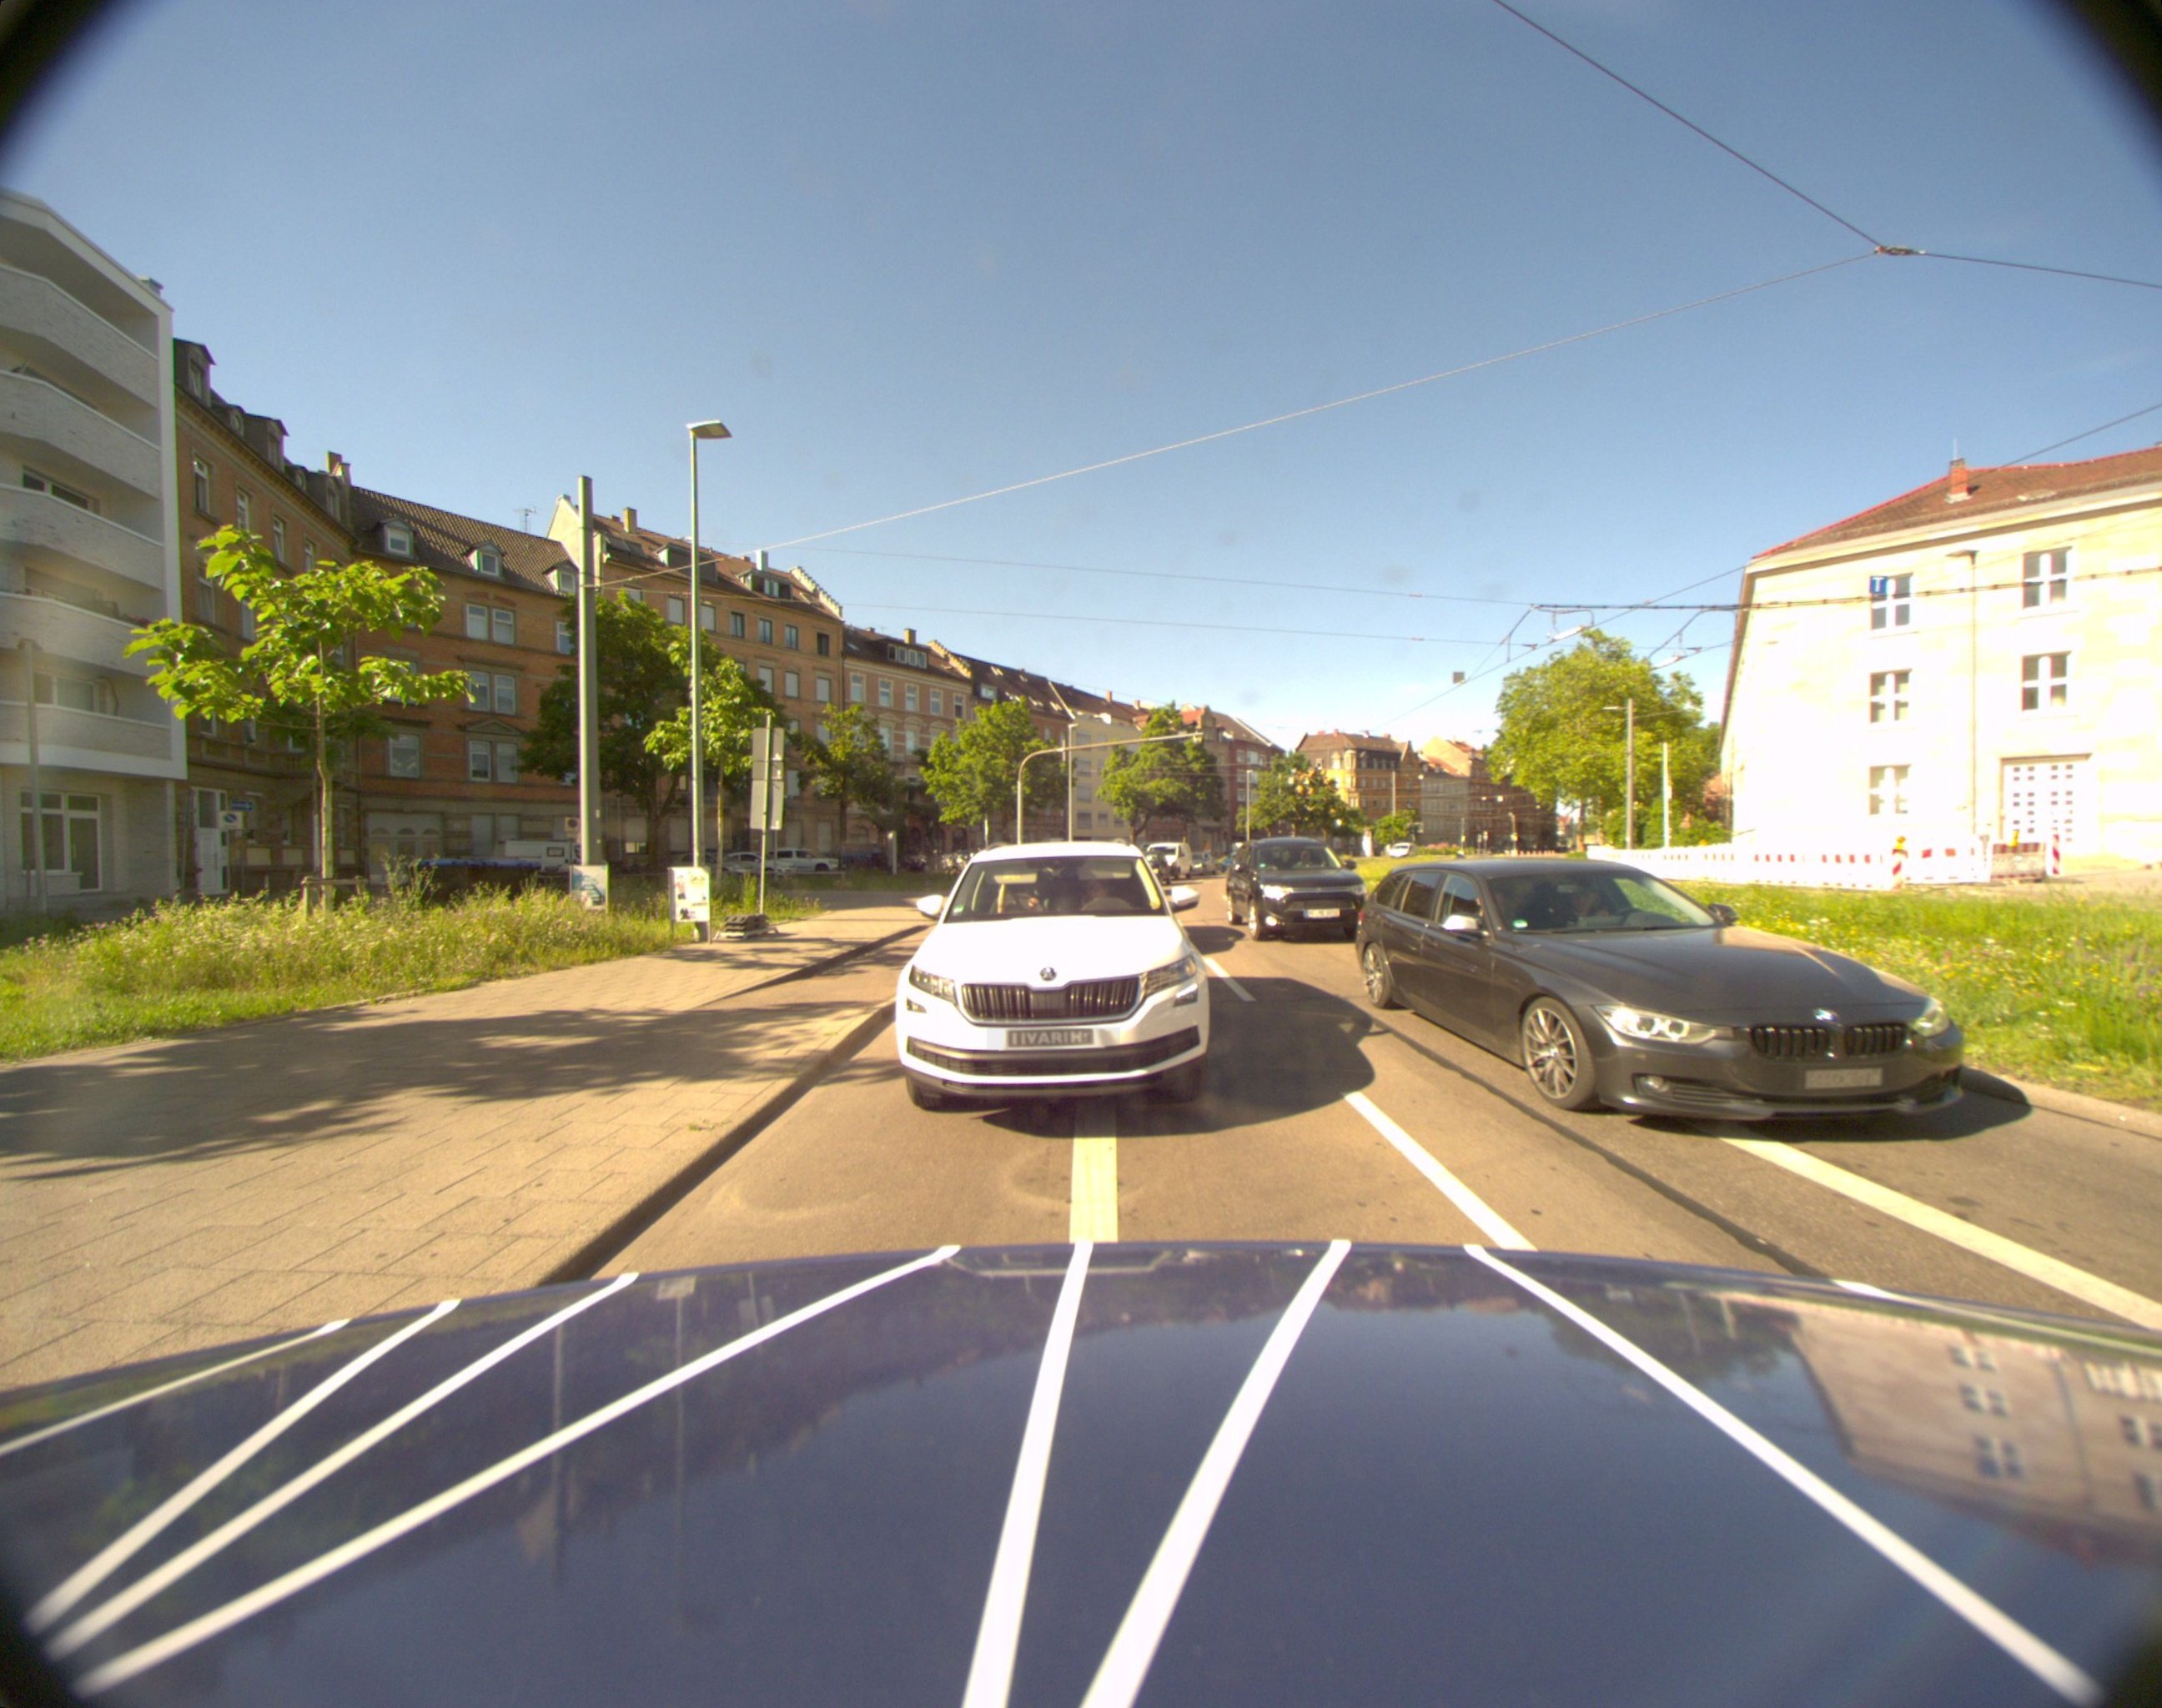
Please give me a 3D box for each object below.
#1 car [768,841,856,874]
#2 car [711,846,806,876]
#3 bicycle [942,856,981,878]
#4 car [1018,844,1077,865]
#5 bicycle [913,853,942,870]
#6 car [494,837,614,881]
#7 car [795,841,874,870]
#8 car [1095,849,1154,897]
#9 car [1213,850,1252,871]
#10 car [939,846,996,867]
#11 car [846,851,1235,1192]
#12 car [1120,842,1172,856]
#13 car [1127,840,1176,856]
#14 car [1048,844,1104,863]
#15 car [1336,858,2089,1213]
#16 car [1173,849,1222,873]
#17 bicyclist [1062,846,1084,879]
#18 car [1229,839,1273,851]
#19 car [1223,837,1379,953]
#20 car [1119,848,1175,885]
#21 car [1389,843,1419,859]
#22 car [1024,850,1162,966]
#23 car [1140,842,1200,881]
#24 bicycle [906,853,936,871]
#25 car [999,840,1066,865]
[{"bbox_3d":[-14.589,0.185,41.389,3.996,1.652,2.000,-1,1,3],"label":"car"},{"bbox_3d":[-16.538,0.361,39.111,3.996,1.455,2.000,-1,1,3],"label":"car"},{"bbox_3d":[-5.759,0.630,36.619,1.764,1.018,0.567,-1,1,-26],"label":"bicycle"},{"bbox_3d":[-2.565,0.044,58.857,4.397,1.498,2.000,-1,1,2],"label":"car"},{"bbox_3d":[-9.324,0.450,46.079,1.757,1.018,0.453,0,1,26],"label":"bicycle"},{"bbox_3d":[-27.017,0.221,39.062,1.994,2.100,4.652,0,1,40],"label":"car"},{"bbox_3d":[-14.717,0.079,45.518,3.996,1.652,2.000,-1,1,3],"label":"car"},{"bbox_3d":[1.470,0.623,27.014,1.873,1.547,4.000,-1,1,1],"label":"car"},{"bbox_3d":[10.980,0.434,54.786,1.826,1.377,4.662,-1,1,24],"label":"car"},{"bbox_3d":[-7.628,0.180,51.236,3.462,1.324,1.732,-1,1,3],"label":"car"},{"bbox_3d":[-0.168,0.817,5.871,1.873,1.621,4.338,-1,1,1],"label":"car"},{"bbox_3d":[5.894,-0.453,68.486,4.393,1.227,2.002,-1,1,13],"label":"car"},{"bbox_3d":[6.654,-0.592,71.342,4.393,1.453,2.002,-1,1,13],"label":"car"},{"bbox_3d":[-0.340,-0.034,61.275,4.397,1.453,2.000,-1,1,2],"label":"car"},{"bbox_3d":[3.476,0.808,5.526,1.840,1.422,4.484,-2,1,2],"label":"car"},{"bbox_3d":[7.238,0.425,46.838,1.870,1.377,4.662,-1,1,24],"label":"car"},{"bbox_3d":[-0.354,0.361,32.193,0.697,1.369,0.736,0,3,-21],"label":"bicyclist"},{"bbox_3d":[18.898,-0.983,84.594,4.397,1.203,2.000,-1,1,3],"label":"car"},{"bbox_3d":[3.660,0.594,13.425,1.768,1.675,4.328,-2,1,4],"label":"car"},{"bbox_3d":[3.076,0.535,34.756,1.871,1.605,3.913,-1,1,15],"label":"car"},{"bbox_3d":[33.956,-0.331,79.928,1.869,1.547,4.008,0,1,39],"label":"car"},{"bbox_3d":[0.189,0.736,12.462,1.873,1.547,4.000,-1,1,1],"label":"car"},{"bbox_3d":[4.841,0.349,40.647,1.870,1.970,4.662,0,1,24],"label":"car"},{"bbox_3d":[-9.465,0.488,44.933,1.757,1.018,0.453,0,1,26],"label":"bicycle"},{"bbox_3d":[-3.553,-0.122,56.114,4.789,1.761,1.732,-1,1,3],"label":"car"}]
